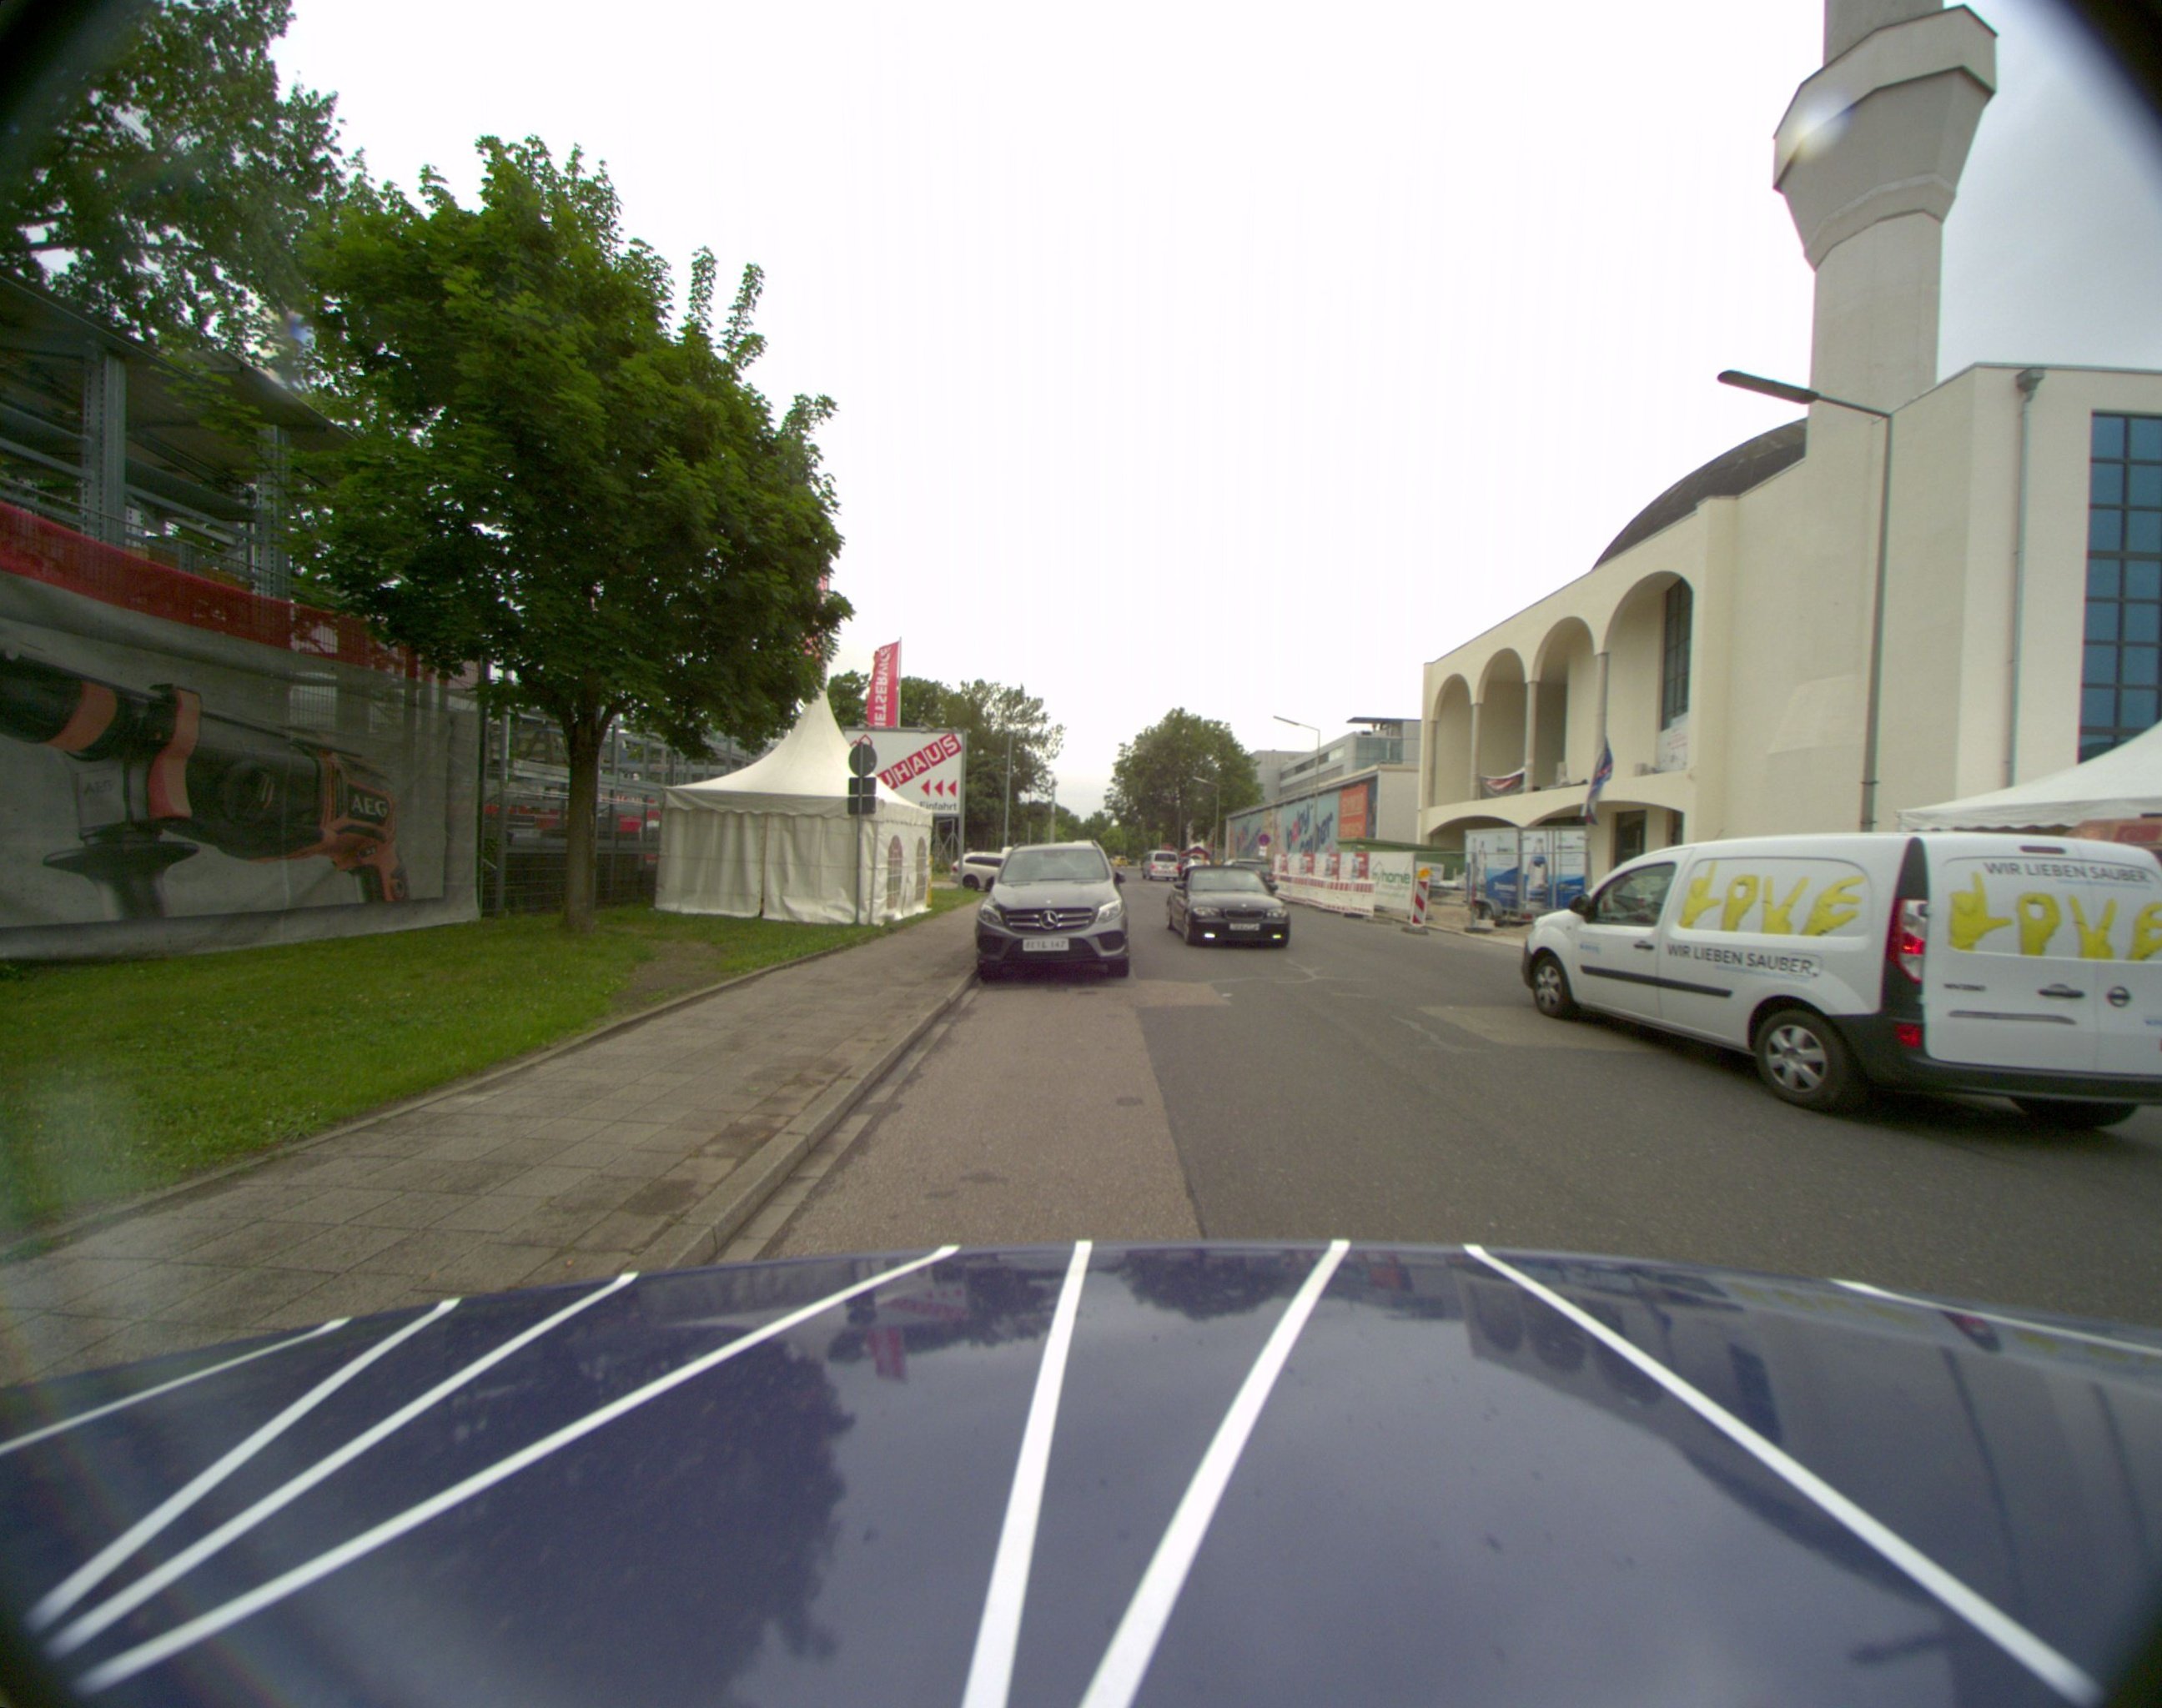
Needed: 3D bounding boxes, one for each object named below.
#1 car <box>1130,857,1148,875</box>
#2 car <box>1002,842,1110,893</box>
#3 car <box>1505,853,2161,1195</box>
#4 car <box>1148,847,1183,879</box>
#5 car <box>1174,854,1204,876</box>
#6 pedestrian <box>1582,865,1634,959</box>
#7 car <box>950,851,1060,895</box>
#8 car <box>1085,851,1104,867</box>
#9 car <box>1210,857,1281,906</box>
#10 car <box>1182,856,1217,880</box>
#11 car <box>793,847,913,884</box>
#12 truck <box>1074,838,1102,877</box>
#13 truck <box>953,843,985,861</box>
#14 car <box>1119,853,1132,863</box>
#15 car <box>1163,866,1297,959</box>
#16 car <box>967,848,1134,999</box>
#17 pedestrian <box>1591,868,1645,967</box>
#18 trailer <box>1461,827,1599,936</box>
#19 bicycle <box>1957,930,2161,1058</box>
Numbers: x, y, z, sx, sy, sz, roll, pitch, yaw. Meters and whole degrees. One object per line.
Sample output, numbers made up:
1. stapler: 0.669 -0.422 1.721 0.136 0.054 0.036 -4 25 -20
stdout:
1. car: 7.050 1.431 92.830 1.998 2.002 4.000 0 1 1
2. car: -1.035 0.544 32.308 4.380 1.797 1.800 4 1 0
3. car: 5.373 0.901 6.062 1.693 1.750 4.135 2 0 2
4. car: 5.680 0.564 51.559 1.931 2.002 4.955 2 1 2
5. car: 8.829 0.904 62.429 1.929 1.565 4.149 5 0 2
6. pedestrian: 10.210 1.098 14.719 0.689 1.739 0.492 3 1 44
7. car: -2.847 0.678 28.557 3.681 1.575 1.779 0 1 19
8. car: 1.504 0.537 85.759 1.998 1.739 4.000 2 0 1
9. car: 5.995 0.950 28.104 1.733 1.562 3.946 3 0 1
10. car: 8.688 0.991 56.133 1.929 1.565 4.149 5 0 2
11. car: -9.612 0.464 32.279 4.490 1.420 1.939 1 2 3
12. truck: 0.478 0.246 53.635 1.853 2.597 4.000 -1 0 1
13. truck: -15.577 -0.257 106.065 1.994 2.383 4.009 2 1 41
14. car: 7.105 0.642 122.788 1.929 1.565 4.000 3 0 2
15. car: 2.579 0.956 14.104 1.750 1.351 4.137 0 1 1
16. car: -0.294 0.804 11.091 1.913 1.731 4.480 -1 0 2
17. pedestrian: 9.889 1.141 13.993 0.689 1.739 0.492 3 1 44
18. trailer: 11.788 0.661 20.206 1.802 2.591 3.192 2 0 4
19. bicycle: 11.133 1.504 8.526 0.545 1.071 1.902 2 1 7
